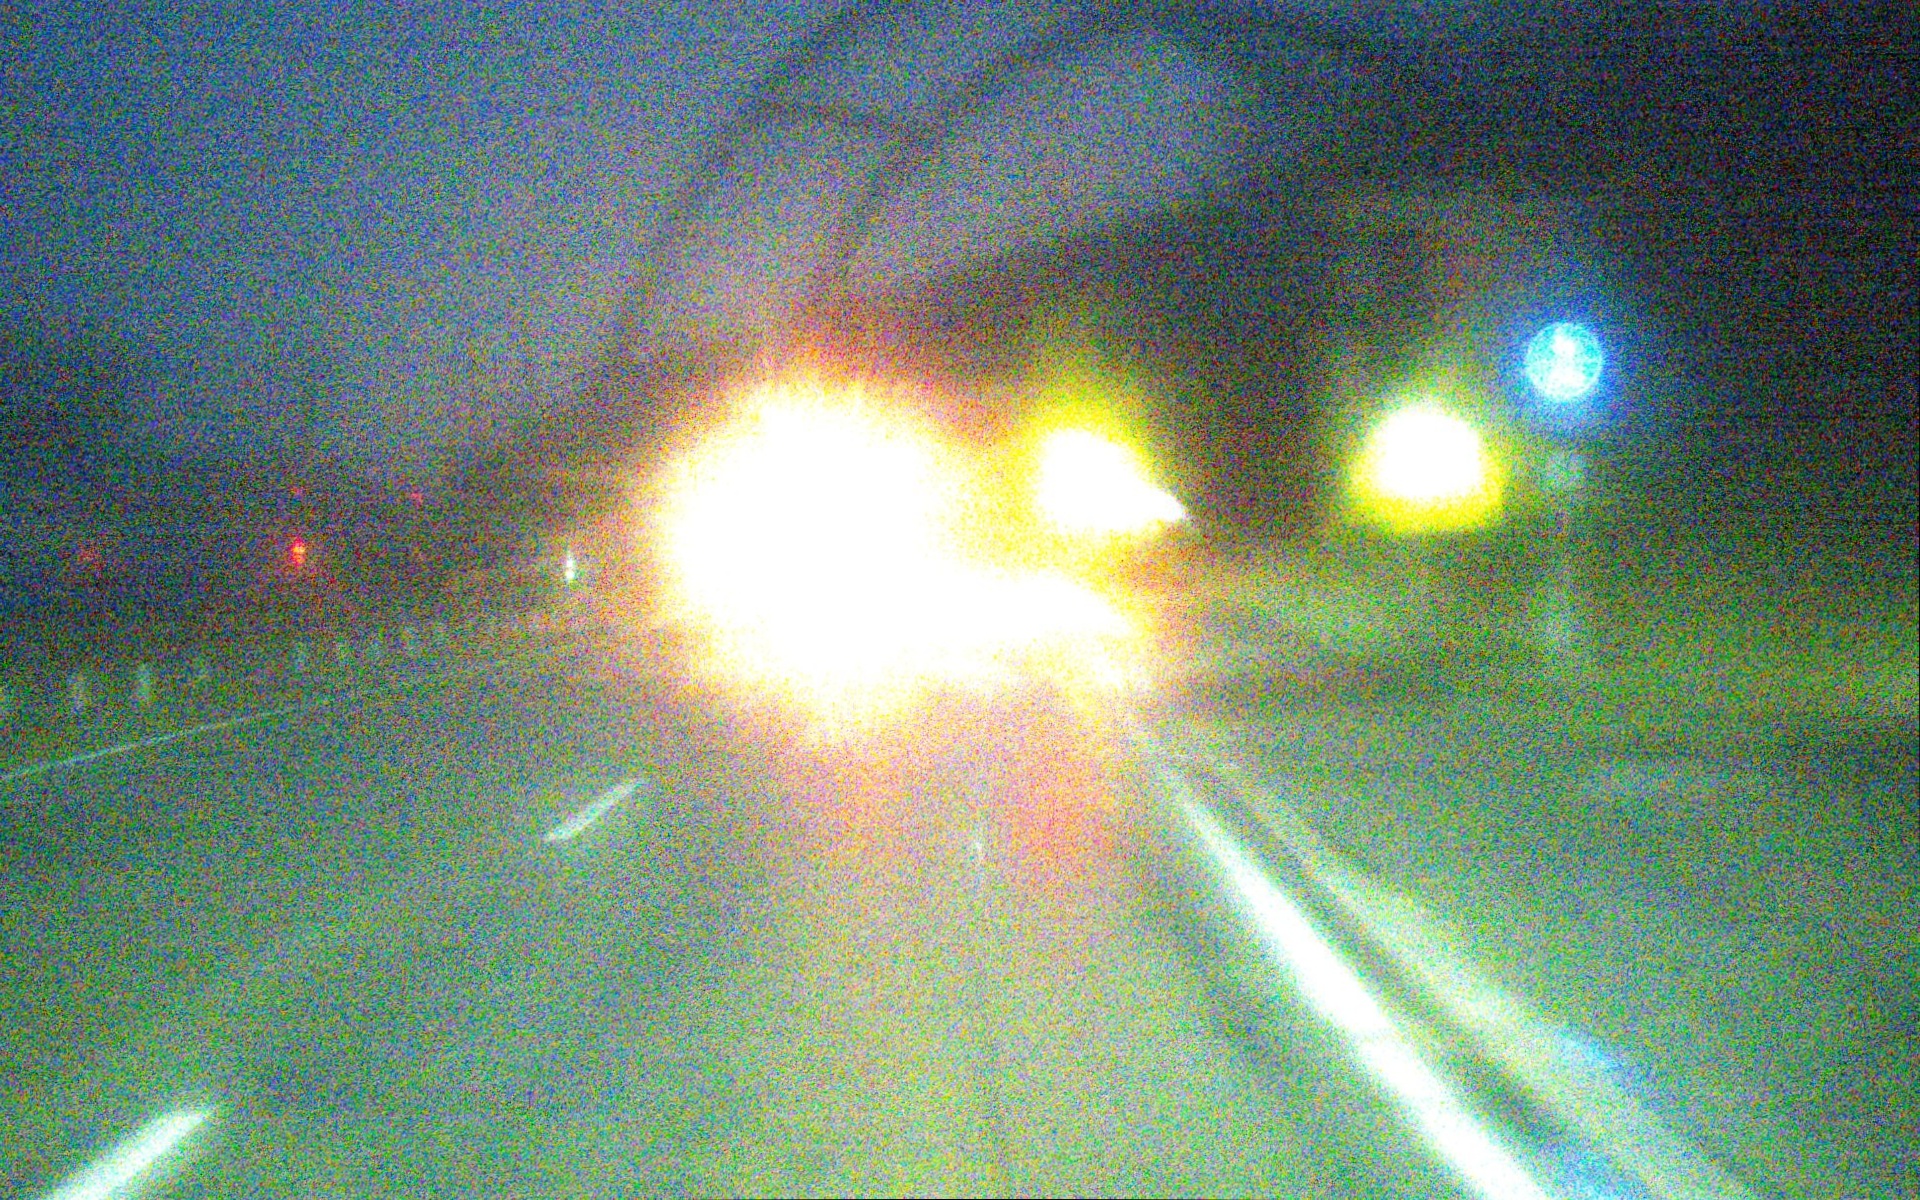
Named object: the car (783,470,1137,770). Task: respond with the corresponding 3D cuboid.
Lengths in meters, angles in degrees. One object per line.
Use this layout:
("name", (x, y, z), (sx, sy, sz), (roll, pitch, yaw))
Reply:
("car", (0.015, 0.092, 29.622), (2.715, 2.299, 6.101), (0, 1, 0))
